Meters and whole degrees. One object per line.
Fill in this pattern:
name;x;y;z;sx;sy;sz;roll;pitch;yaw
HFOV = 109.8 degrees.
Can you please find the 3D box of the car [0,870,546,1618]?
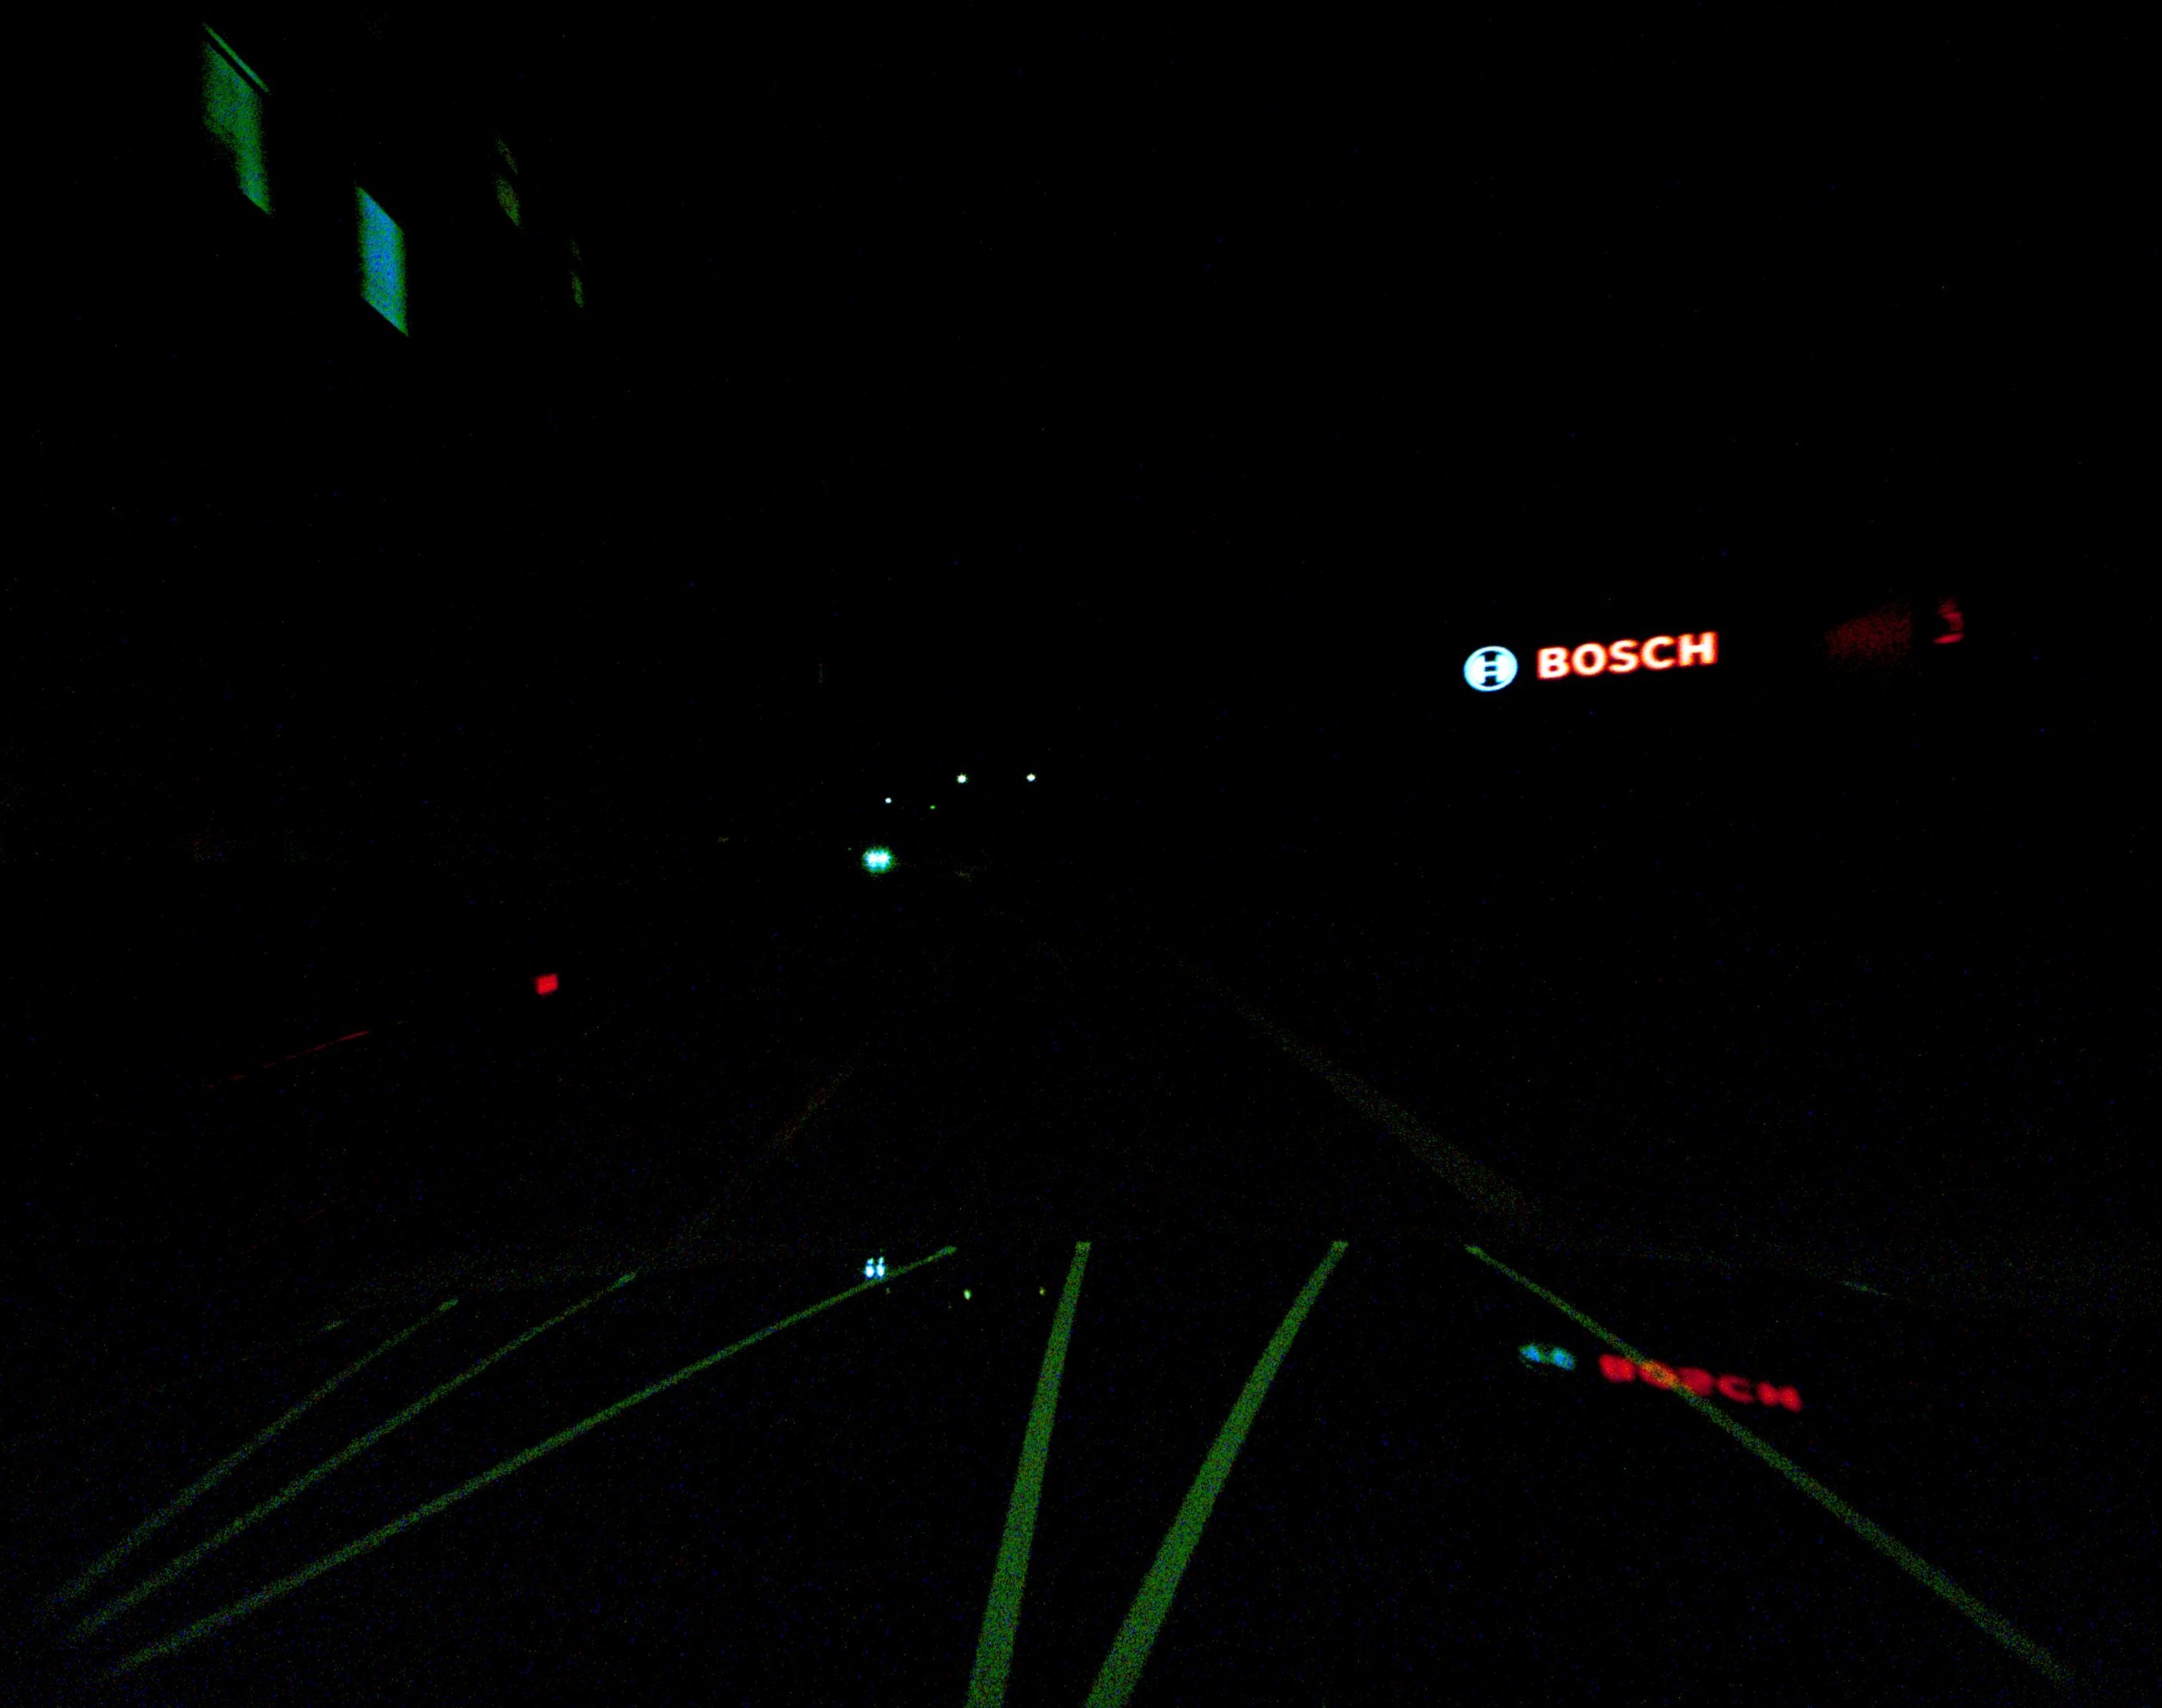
car;-3.417;0.922;1.463;1.999;1.607;3.998;-1;1;-2
